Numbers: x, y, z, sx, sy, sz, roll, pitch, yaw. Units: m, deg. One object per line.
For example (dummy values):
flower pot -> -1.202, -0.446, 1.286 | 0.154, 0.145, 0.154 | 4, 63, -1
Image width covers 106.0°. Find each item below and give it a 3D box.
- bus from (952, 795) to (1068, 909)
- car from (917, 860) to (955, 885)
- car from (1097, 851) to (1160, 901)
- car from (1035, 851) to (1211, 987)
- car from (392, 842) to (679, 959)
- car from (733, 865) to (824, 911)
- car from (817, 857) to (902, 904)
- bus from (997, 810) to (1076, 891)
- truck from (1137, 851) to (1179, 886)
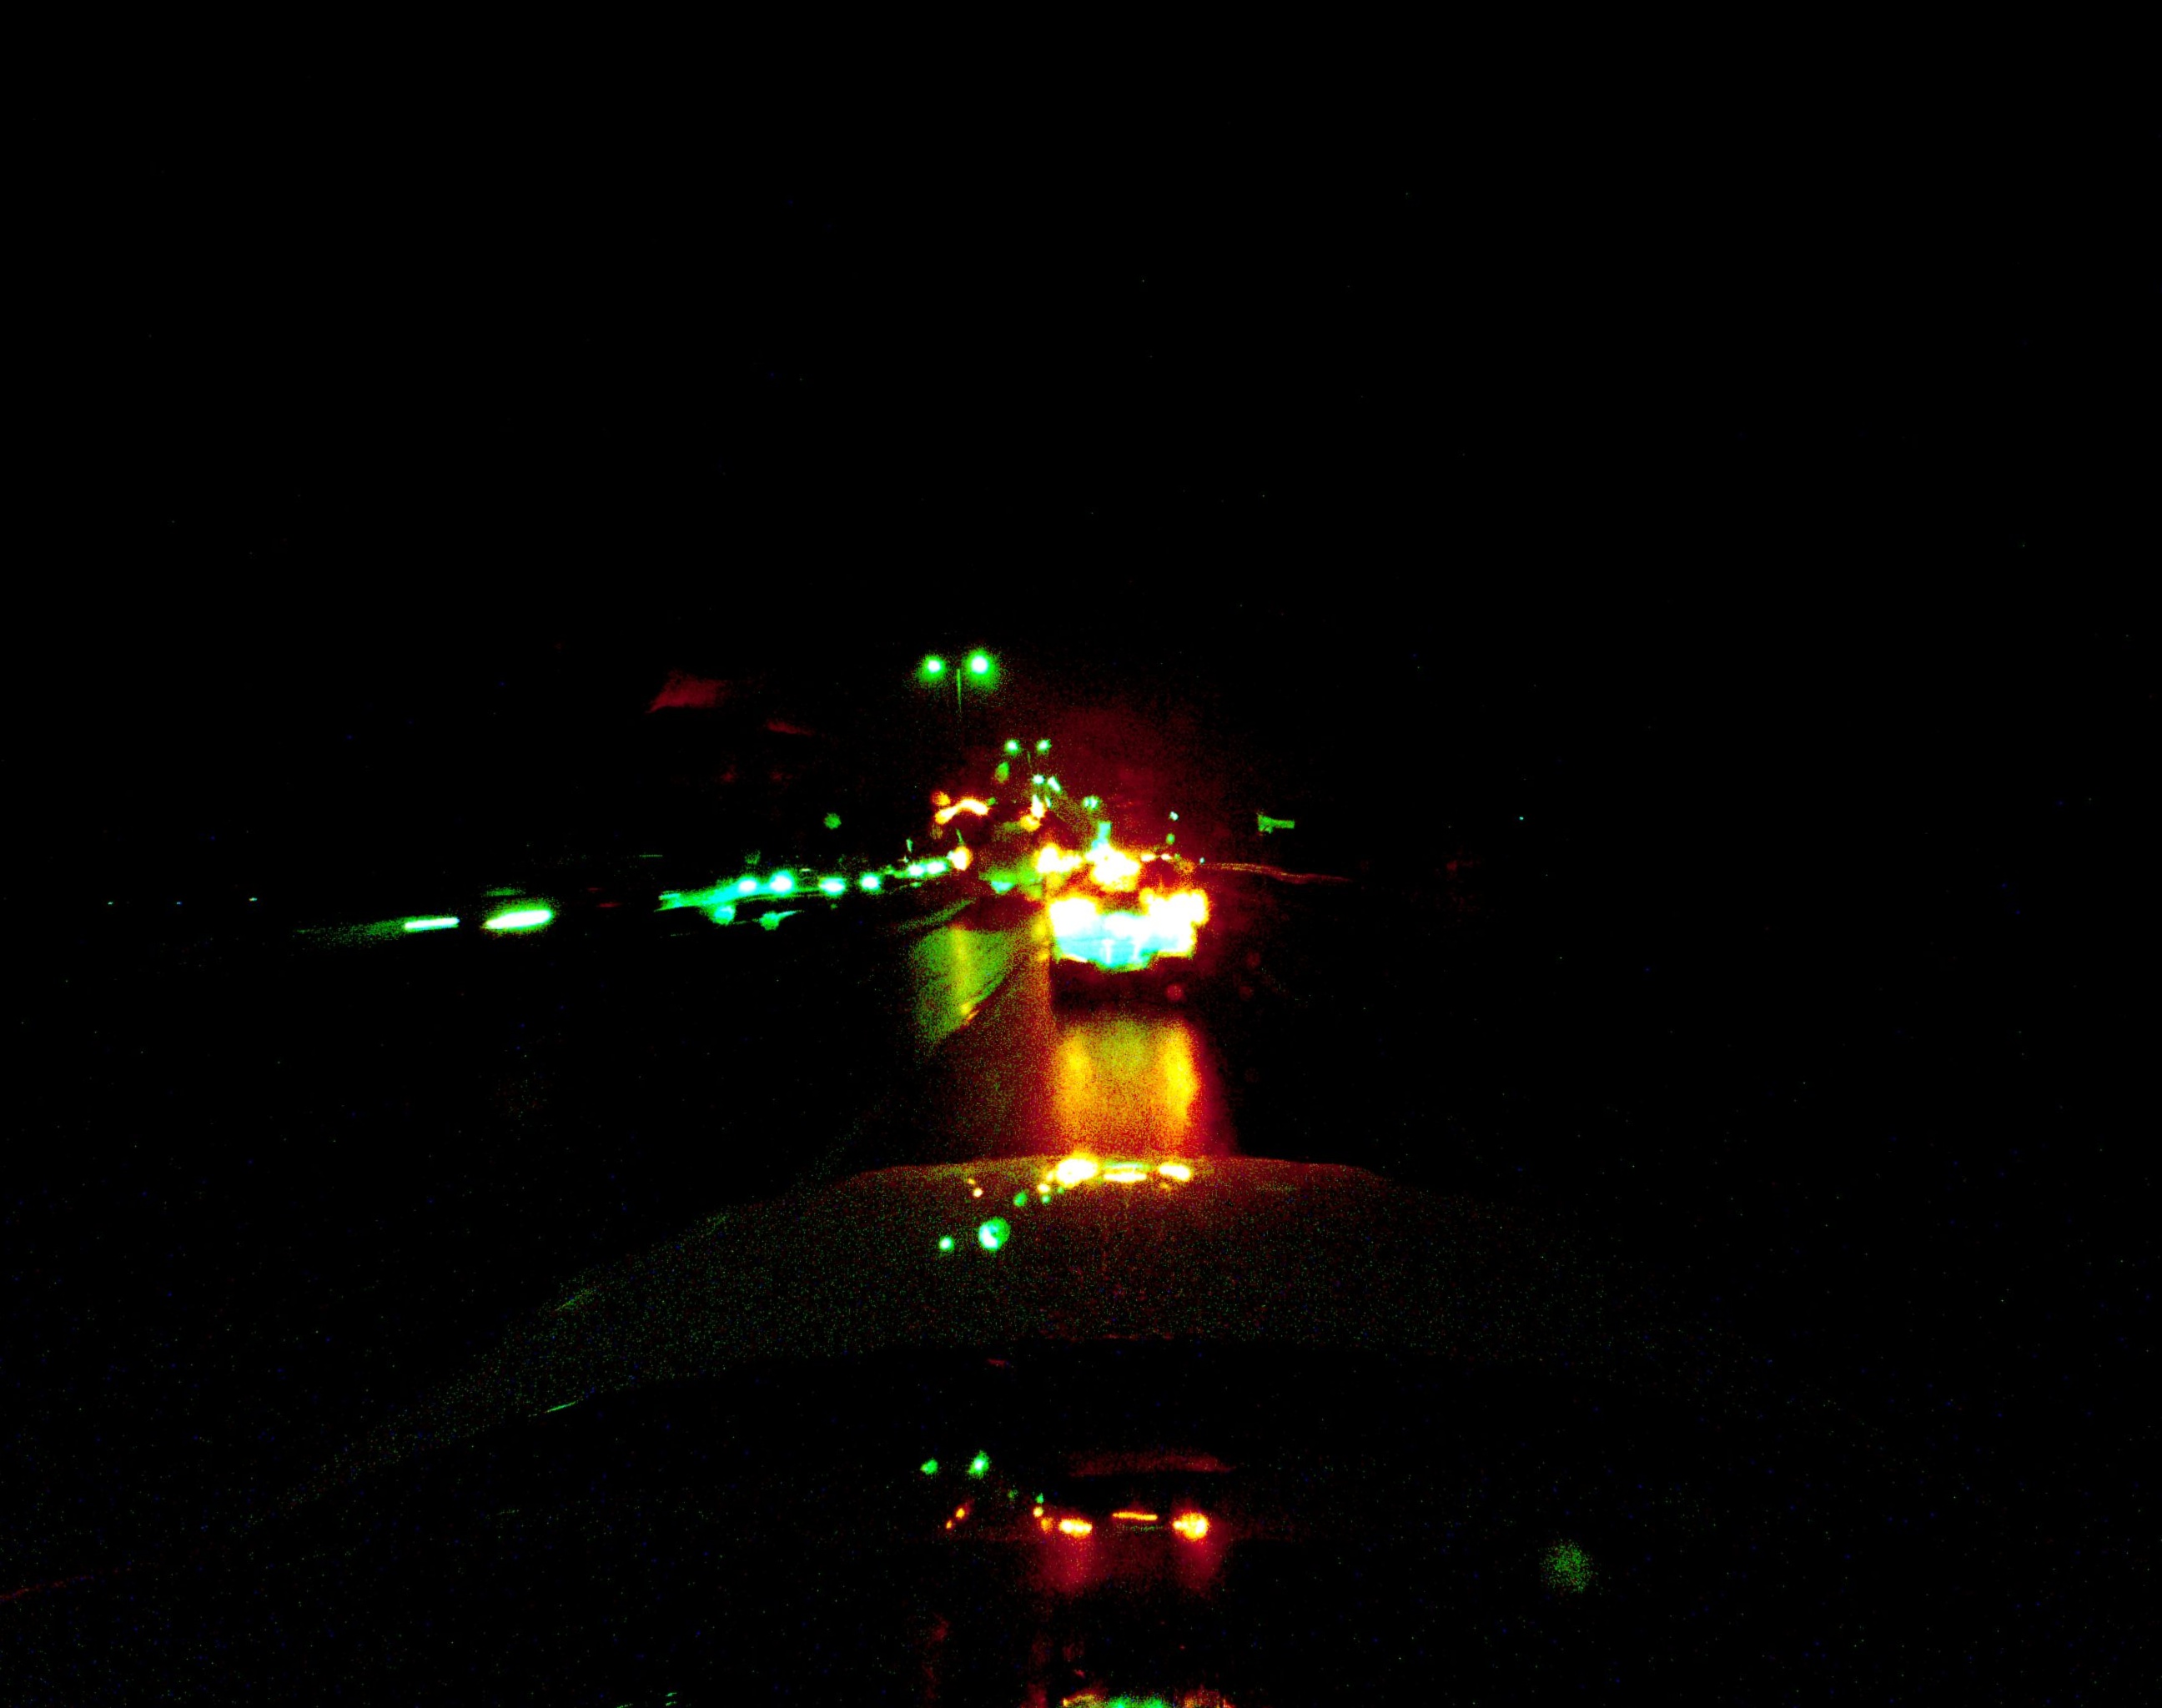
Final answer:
bus -> -2.044, -0.091, 27.114 | 2.733, 3.123, 9.205 | 1, 0, 2
car -> -11.147, 1.432, 63.032 | 1.985, 1.809, 4.202 | 1, -1, 2
car -> 1.483, 0.656, 25.831 | 1.814, 1.461, 3.718 | -1, 0, 2
car -> 0.557, 0.733, 10.901 | 1.936, 1.491, 3.718 | -1, 0, 3
car -> -9.560, 0.762, 14.900 | 1.987, 1.774, 4.705 | 1, -1, 1
car -> -12.601, 1.368, 34.332 | 1.987, 1.774, 4.705 | 1, -1, 1
car -> -9.007, 1.076, 33.580 | 2.157, 1.774, 4.705 | 1, -1, 1
bus -> -1.777, -0.157, 36.087 | 2.733, 3.123, 8.707 | 1, 0, 2
truck -> 6.070, 1.144, 63.644 | 3.054, 2.528, 7.178 | 1, -1, 6
